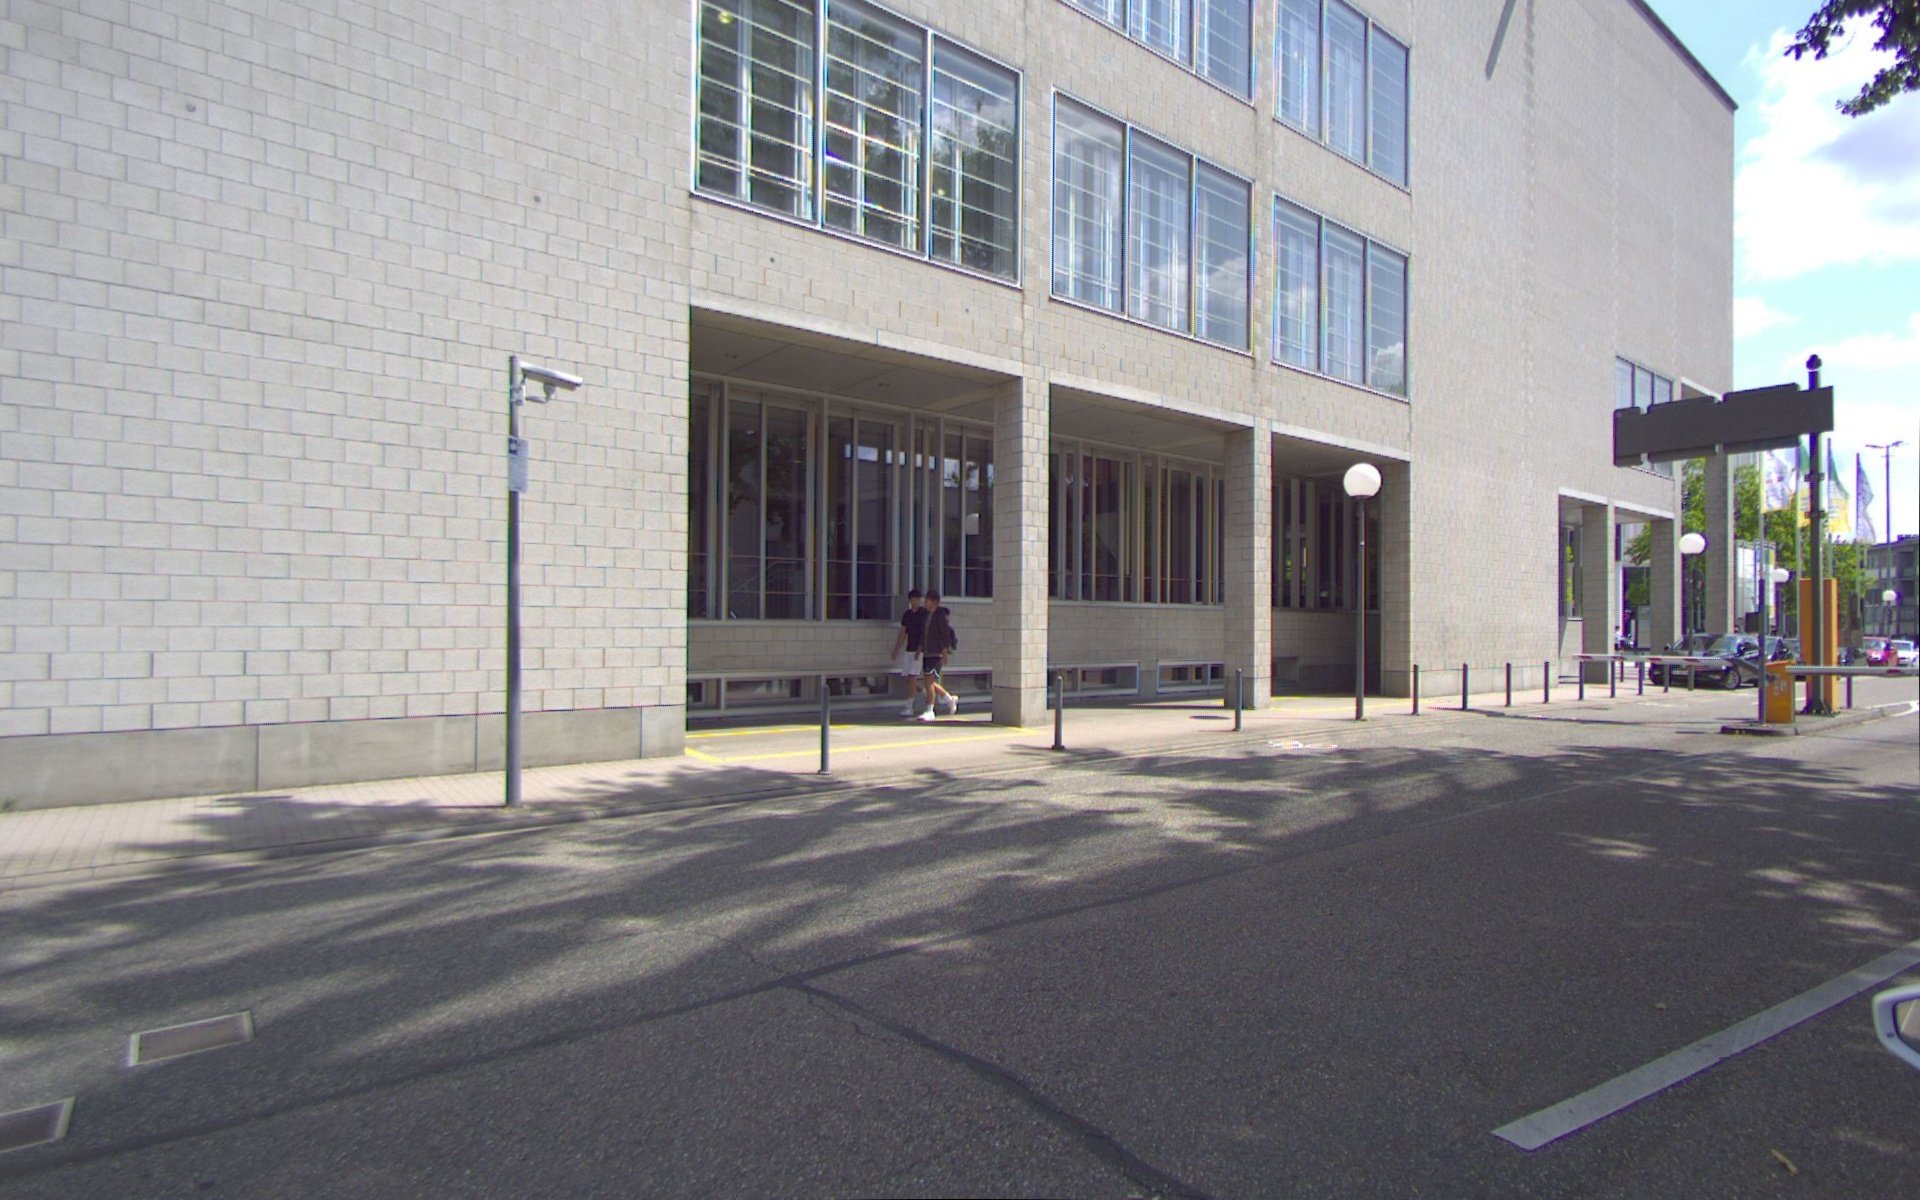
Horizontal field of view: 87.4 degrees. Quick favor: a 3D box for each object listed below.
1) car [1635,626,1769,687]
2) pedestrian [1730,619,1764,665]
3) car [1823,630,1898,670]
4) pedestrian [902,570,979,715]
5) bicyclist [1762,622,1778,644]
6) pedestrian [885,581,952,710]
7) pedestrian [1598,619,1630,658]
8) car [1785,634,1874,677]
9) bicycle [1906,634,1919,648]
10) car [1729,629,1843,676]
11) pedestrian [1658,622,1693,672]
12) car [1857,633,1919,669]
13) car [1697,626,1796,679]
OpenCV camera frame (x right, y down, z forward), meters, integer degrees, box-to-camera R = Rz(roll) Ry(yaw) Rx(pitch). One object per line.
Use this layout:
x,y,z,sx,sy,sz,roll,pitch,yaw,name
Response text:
20.682,1.524,27.917,4.678,1.487,1.844,2,1,-39,car
35.361,1.880,45.137,0.783,2.054,0.904,1,-1,-8,pedestrian
37.963,2.082,42.316,3.876,1.487,1.664,2,1,-38,car
-0.286,0.610,14.666,0.822,2.040,0.693,2,0,-38,pedestrian
67.899,2.734,84.207,0.987,1.841,0.786,1,-1,-29,bicyclist
-0.638,0.678,15.398,0.713,1.905,0.725,2,0,-38,pedestrian
32.584,1.915,50.061,1.068,1.875,0.721,2,0,-3,pedestrian
33.910,2.131,39.140,4.157,1.487,1.735,2,1,-37,car
99.970,4.258,103.913,2.905,1.381,1.118,1,0,15,bicycle
28.147,1.768,34.166,4.970,1.396,1.846,2,1,-37,car
29.766,1.939,41.771,1.156,2.040,0.975,2,-1,-42,pedestrian
42.096,2.274,45.282,4.621,1.414,1.664,2,1,-38,car
24.662,1.624,31.454,3.675,1.487,1.625,2,1,-39,car
